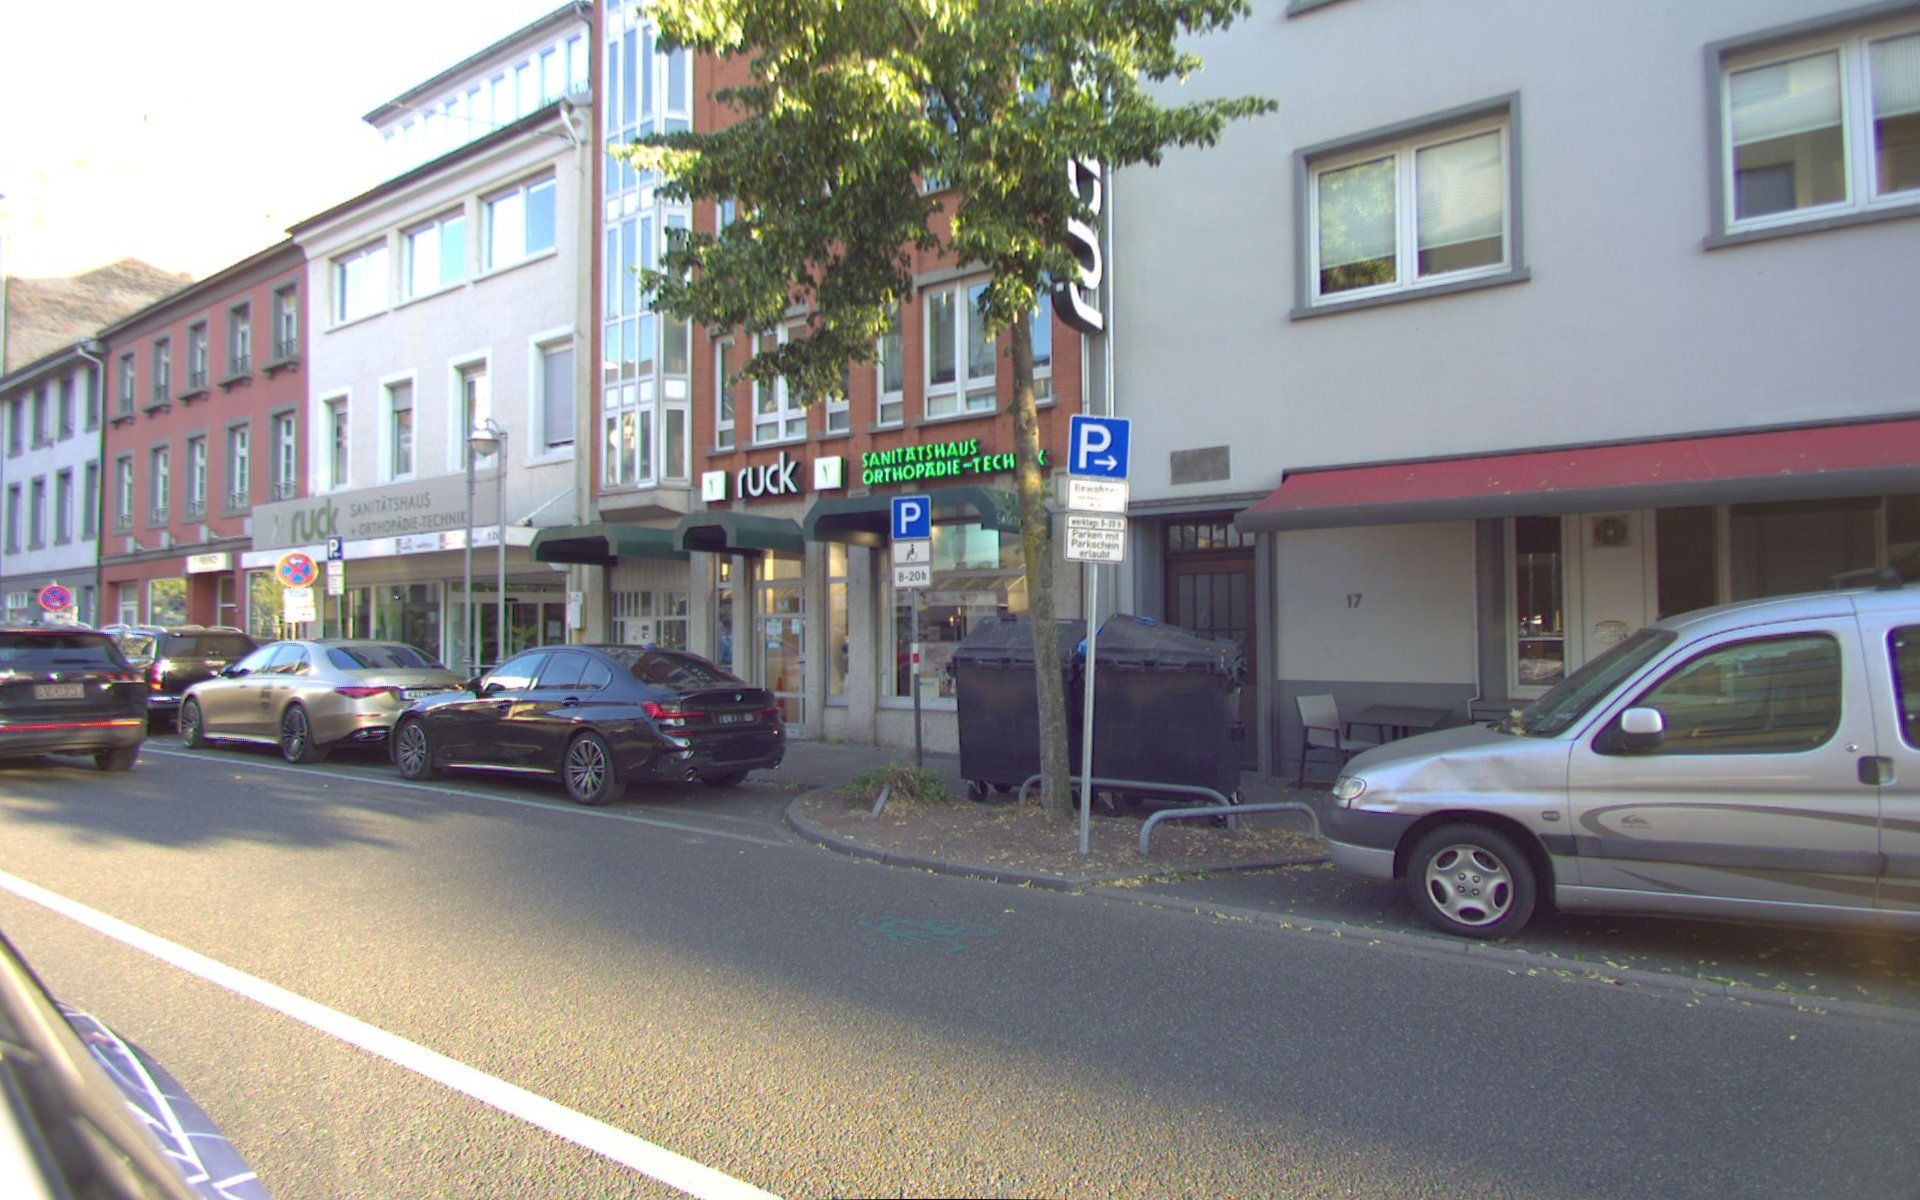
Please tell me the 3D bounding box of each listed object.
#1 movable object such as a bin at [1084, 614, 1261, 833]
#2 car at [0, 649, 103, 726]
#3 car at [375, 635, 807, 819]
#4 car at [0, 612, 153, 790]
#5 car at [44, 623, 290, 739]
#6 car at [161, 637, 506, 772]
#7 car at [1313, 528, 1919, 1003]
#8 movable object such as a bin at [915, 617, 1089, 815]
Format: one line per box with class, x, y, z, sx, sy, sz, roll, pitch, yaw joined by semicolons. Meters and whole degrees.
movable object such as a bin;1.741;0.949;8.274;1.203;1.632;0.775;-2;0;30
car;-19.564;1.764;20.894;4.001;1.449;1.688;-2;-5;32
car;-3.824;1.150;10.193;4.528;1.484;1.706;-2;-5;33
car;-10.766;1.048;11.082;4.282;1.688;1.716;-2;-5;33
car;-13.881;1.369;17.637;4.921;1.793;1.708;-2;-4;31
car;-8.416;1.287;13.435;5.094;1.484;1.977;-2;-4;34
car;3.988;0.712;4.957;4.038;1.902;1.657;-1;-4;31
movable object such as a bin;0.376;0.982;9.067;1.331;1.632;0.775;-2;-1;30
